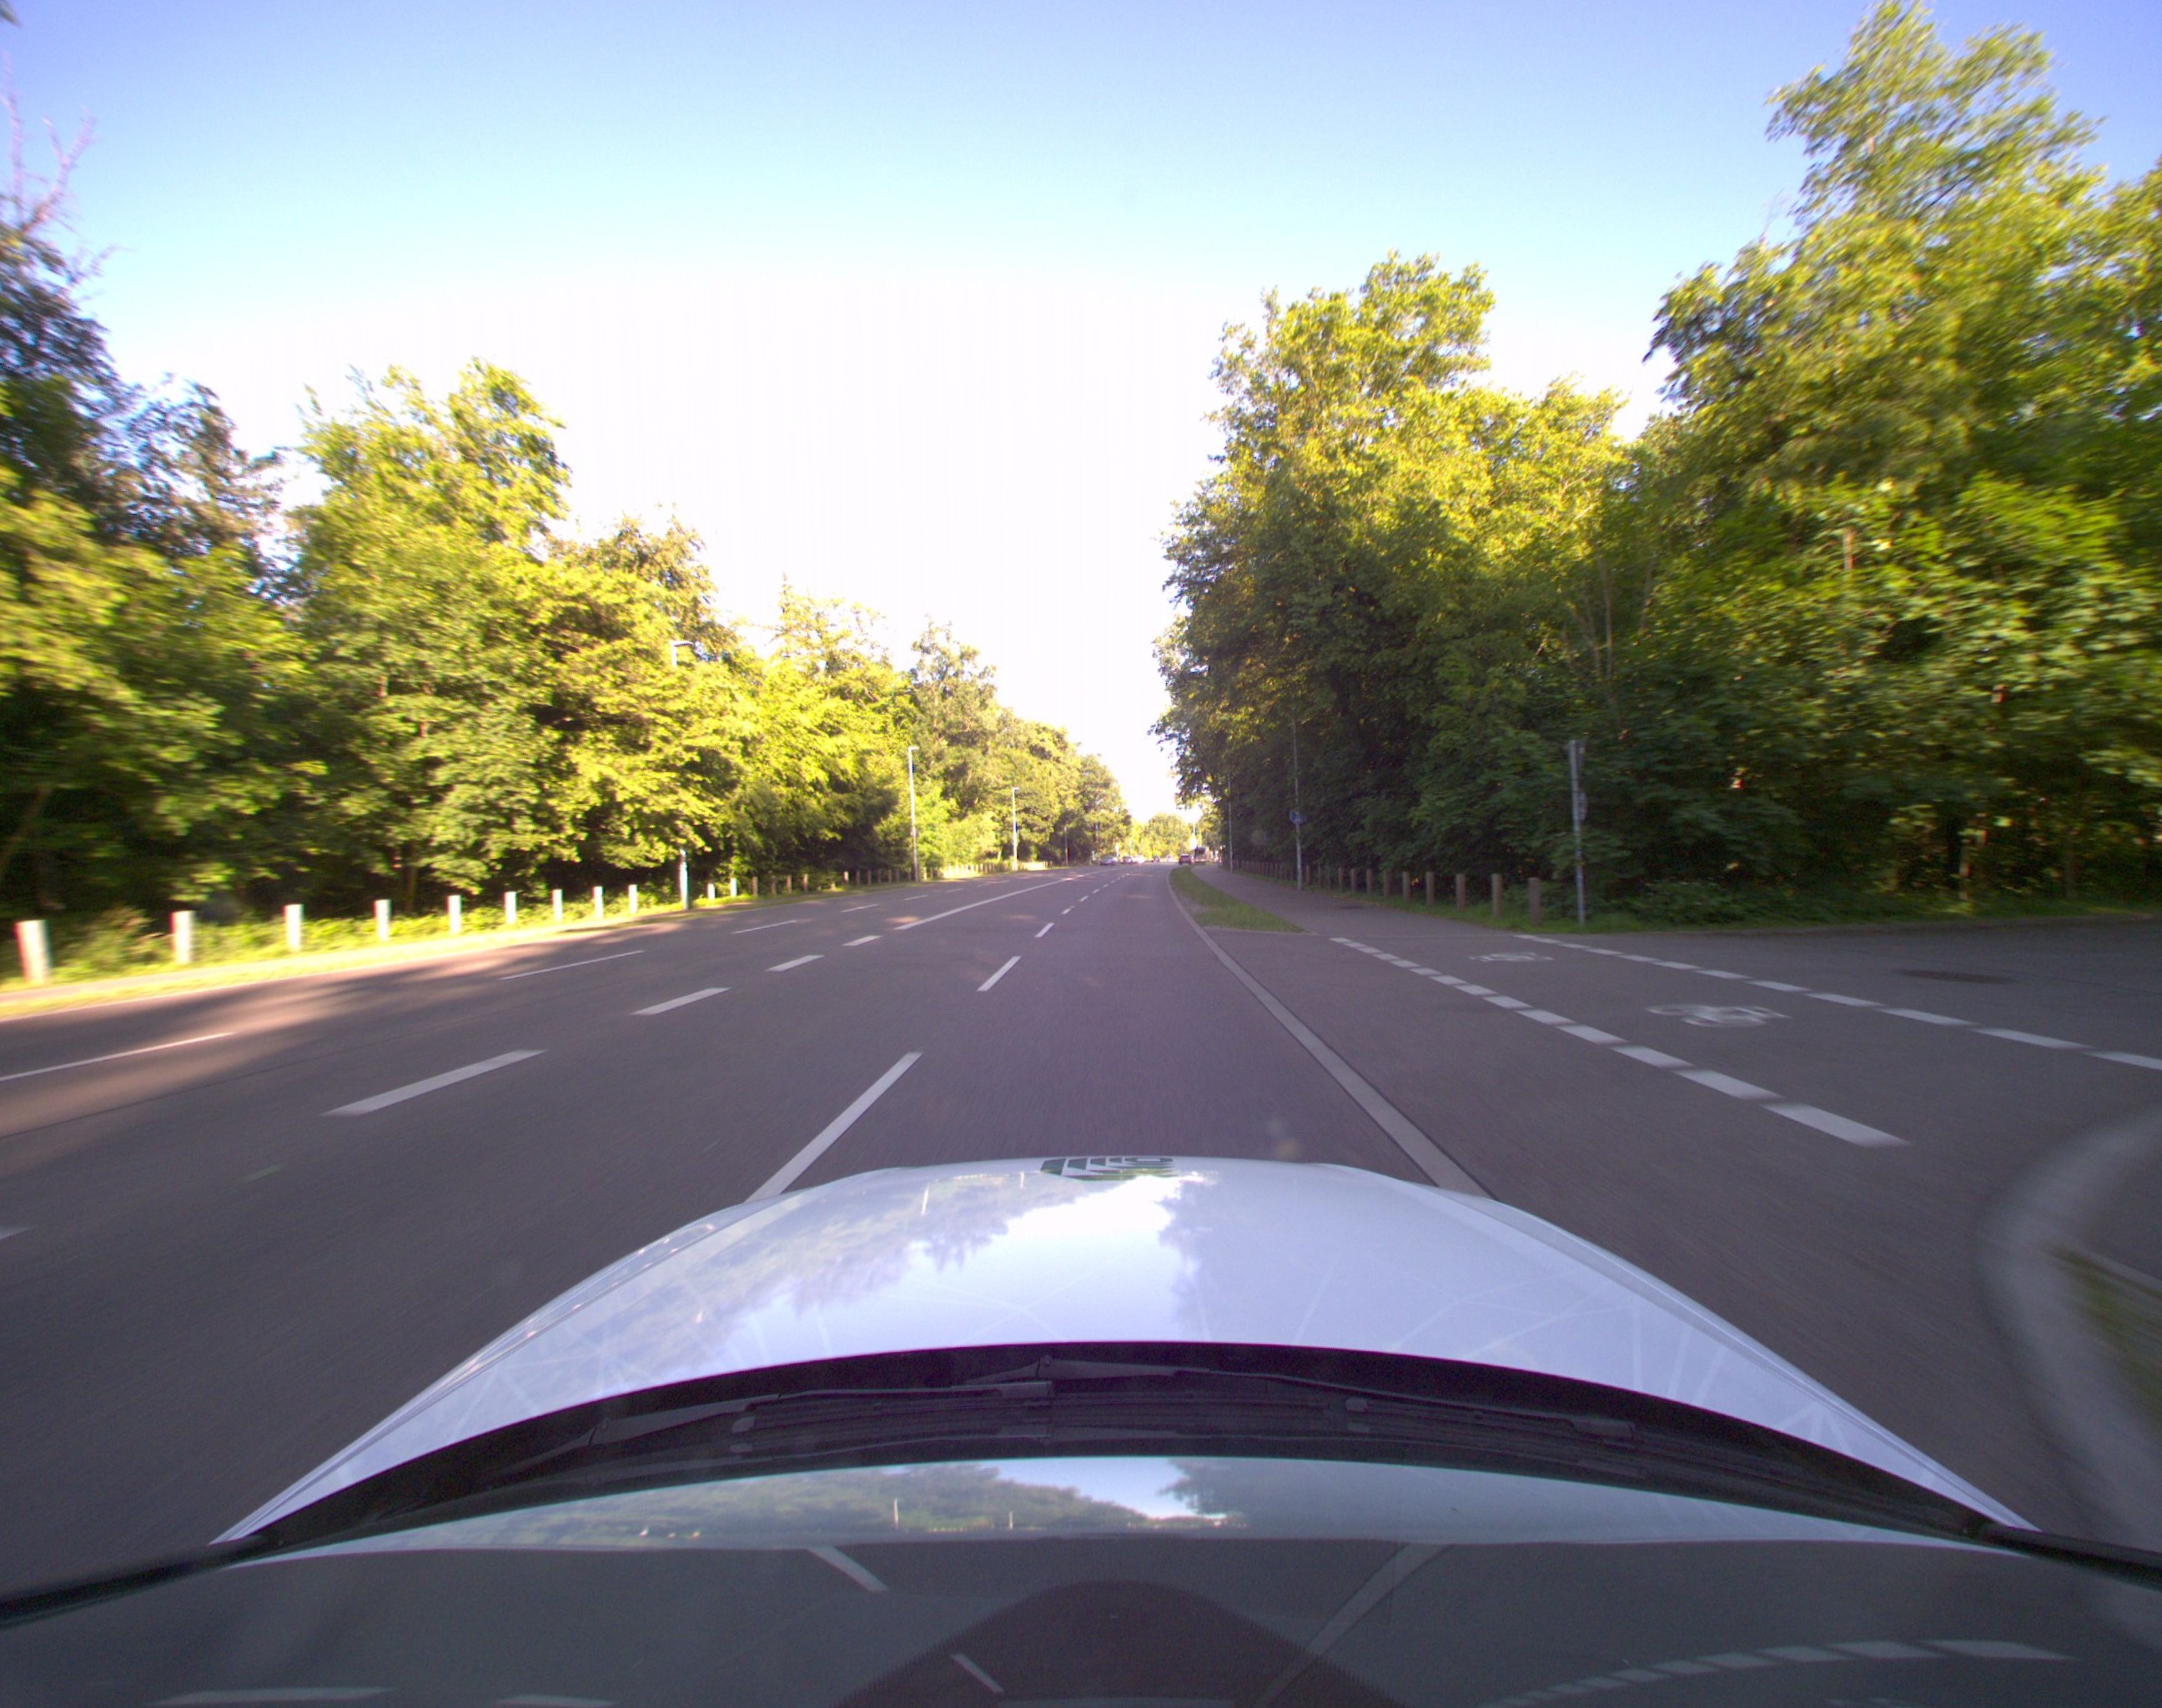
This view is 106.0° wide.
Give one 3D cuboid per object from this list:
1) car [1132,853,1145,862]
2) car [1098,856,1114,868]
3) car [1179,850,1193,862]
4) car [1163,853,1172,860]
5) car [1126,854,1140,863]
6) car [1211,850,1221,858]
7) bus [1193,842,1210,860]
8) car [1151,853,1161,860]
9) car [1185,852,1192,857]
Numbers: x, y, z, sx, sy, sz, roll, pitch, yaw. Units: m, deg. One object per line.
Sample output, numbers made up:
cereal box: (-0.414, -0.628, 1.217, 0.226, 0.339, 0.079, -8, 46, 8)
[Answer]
car: (10.561, 0.626, 148.956, 1.771, 1.522, 4.412, -2, 0, 11)
car: (3.599, 1.131, 115.095, 1.769, 1.408, 4.176, -1, 1, 8)
car: (17.181, 0.267, 133.382, 1.867, 1.765, 4.015, -2, 0, 13)
car: (21.799, 0.656, 204.820, 1.645, 1.508, 4.013, -2, 0, 11)
car: (8.689, 0.754, 136.060, 1.768, 1.464, 4.287, -2, 0, 11)
car: (32.076, -0.012, 193.739, 1.848, 1.684, 3.790, -3, 0, 17)
bus: (23.041, -0.590, 155.200, 2.587, 3.368, 8.004, -1, 1, 13)
car: (16.705, 0.476, 181.319, 1.651, 1.518, 3.821, -2, 0, 13)
car: (32.221, 0.290, 244.577, 1.698, 1.464, 4.116, 0, 0, 13)
